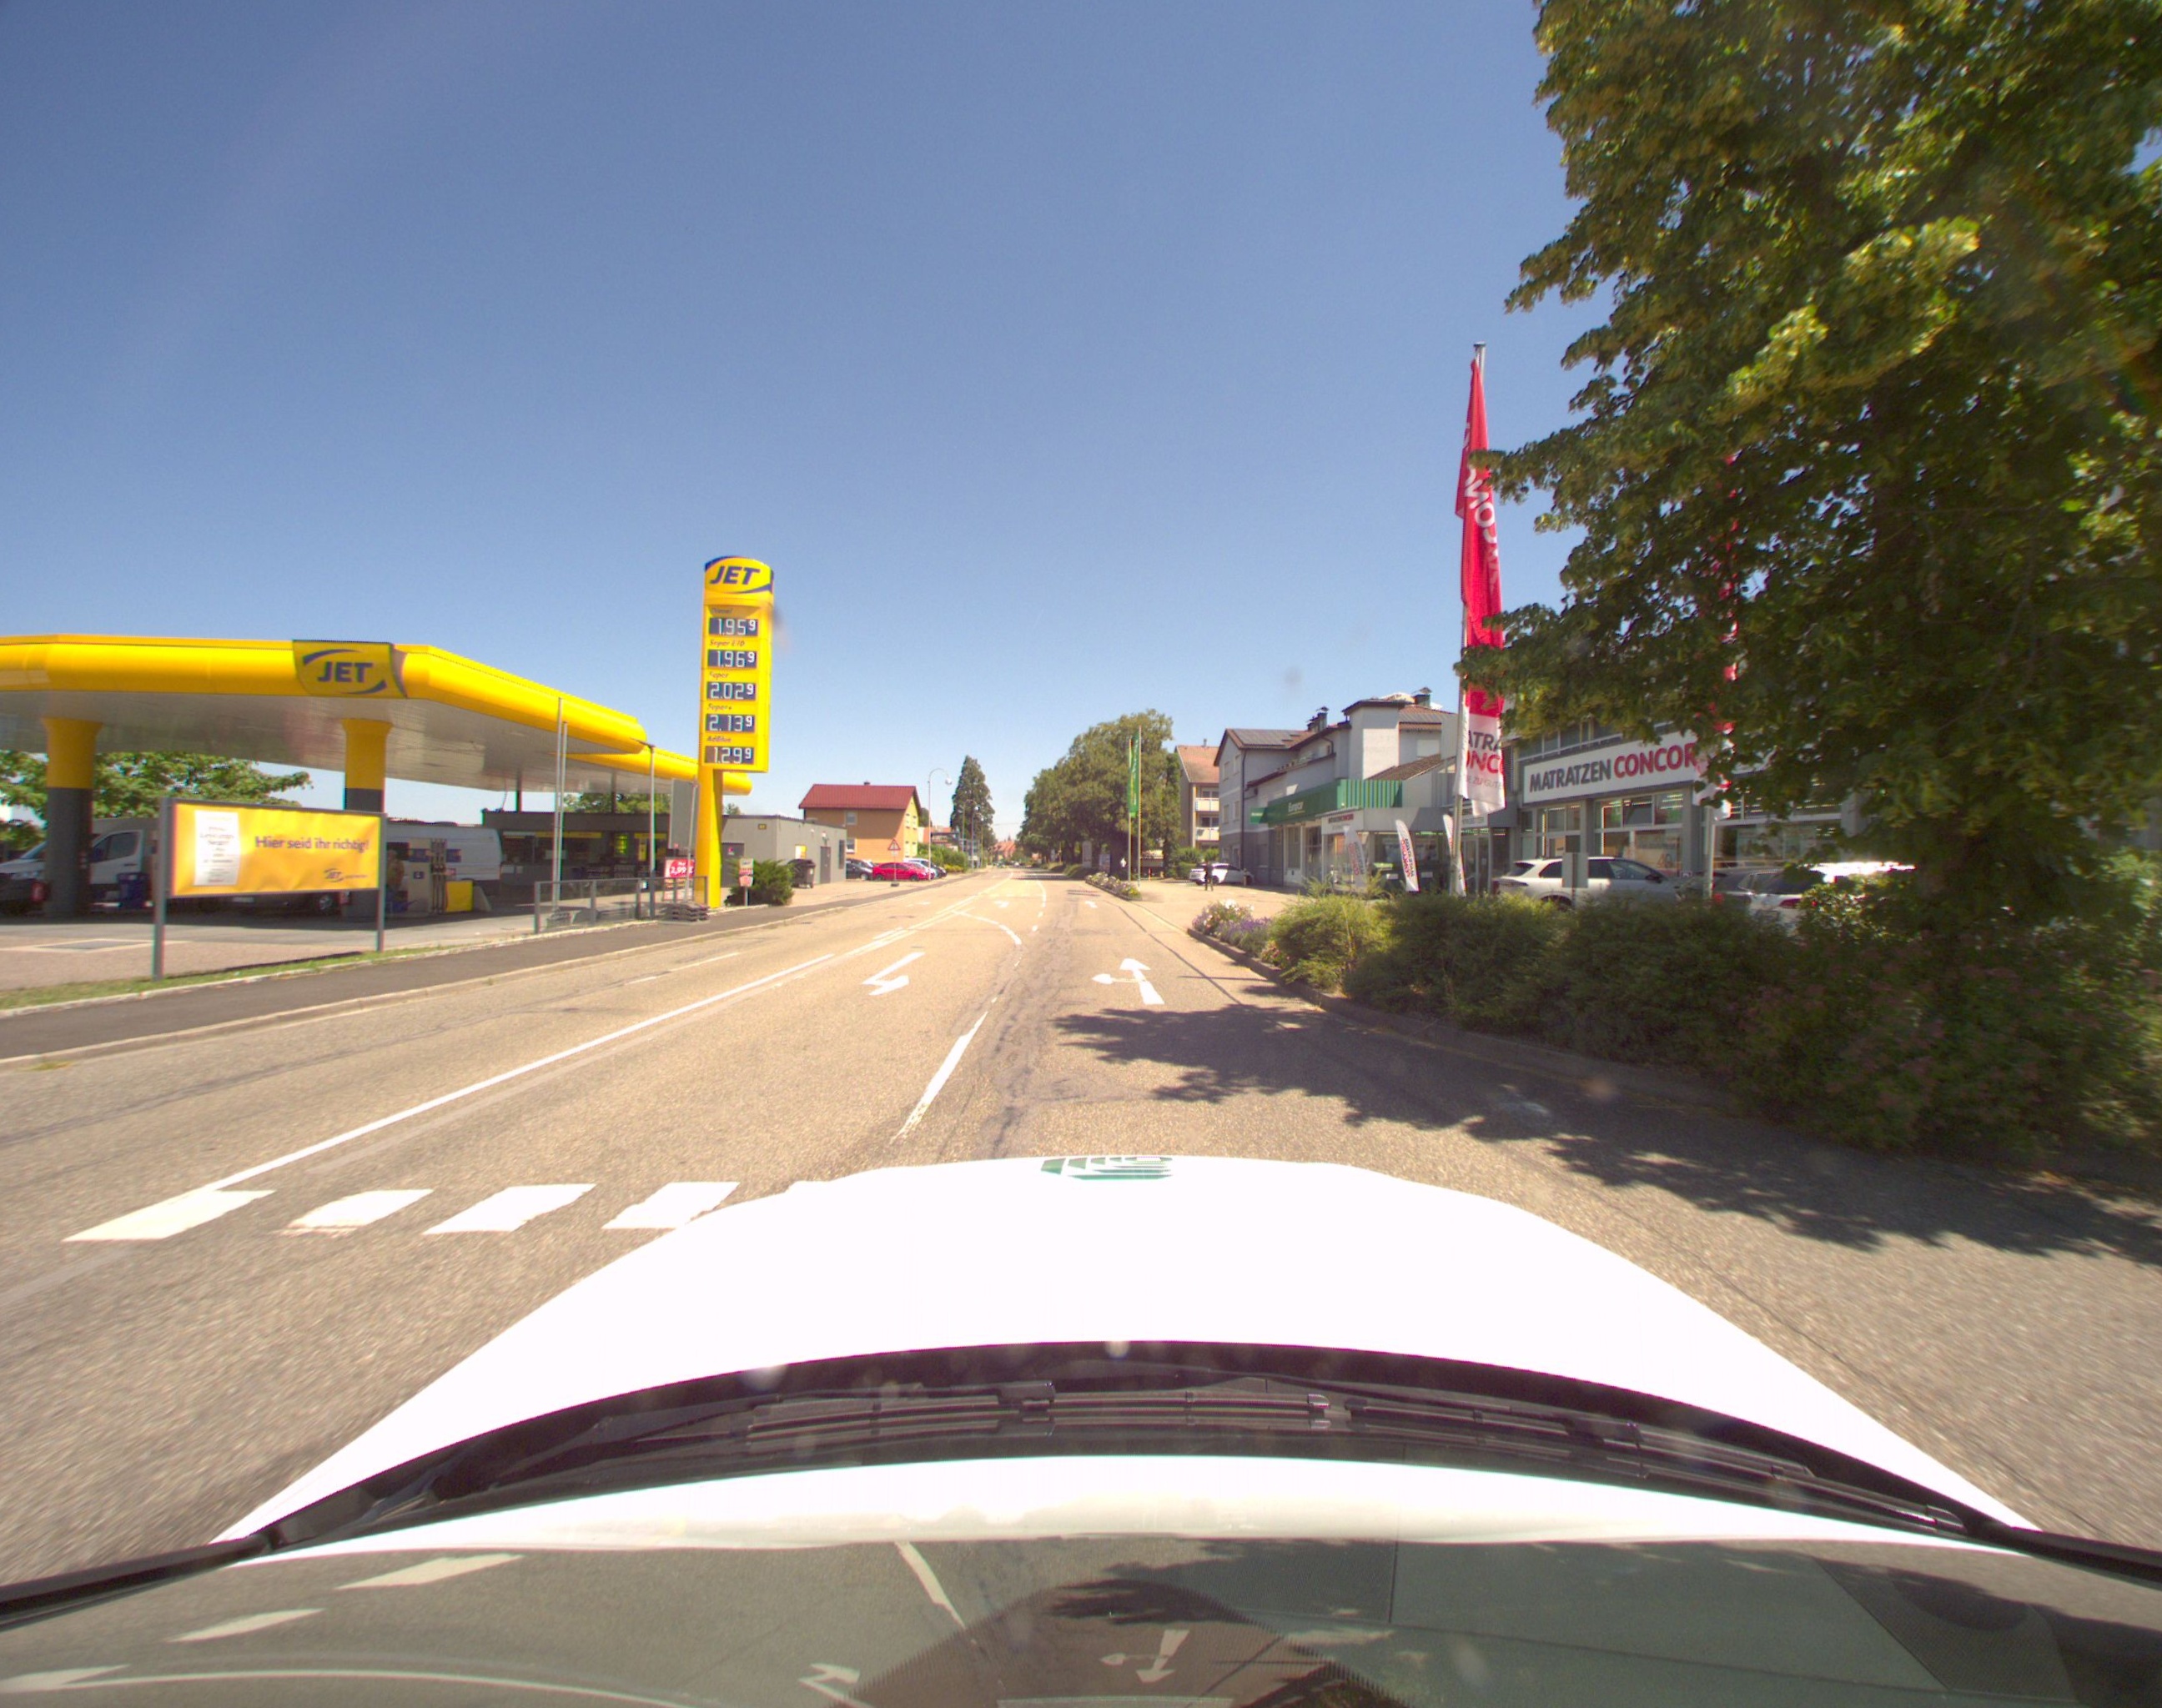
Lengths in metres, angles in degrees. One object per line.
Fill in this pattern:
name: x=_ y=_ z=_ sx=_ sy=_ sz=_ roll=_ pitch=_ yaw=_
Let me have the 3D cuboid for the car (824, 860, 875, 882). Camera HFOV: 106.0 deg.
car: x=-18.528 y=1.369 z=65.257 sx=3.659 sy=1.709 sz=1.888 roll=0 pitch=-1 yaw=-7

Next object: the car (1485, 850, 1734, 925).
car: x=12.250 y=0.761 z=19.250 sx=4.547 sy=1.642 sz=2.008 roll=-1 pitch=-1 yaw=15

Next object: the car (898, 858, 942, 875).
car: x=-14.385 y=1.100 z=72.933 sx=3.659 sy=1.531 sz=1.918 roll=0 pitch=-1 yaw=-6

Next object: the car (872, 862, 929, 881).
car: x=-14.058 y=1.335 z=63.704 sx=4.118 sy=1.444 sz=1.824 roll=0 pitch=-1 yaw=-5

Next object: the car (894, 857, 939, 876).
car: x=-14.261 y=1.096 z=70.831 sx=3.659 sy=1.581 sz=1.918 roll=0 pitch=-1 yaw=-6

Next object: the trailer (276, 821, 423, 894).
trailer: x=-34.500 y=0.135 z=38.712 sx=1.861 sy=3.219 sz=5.907 roll=0 pitch=0 yaw=-3

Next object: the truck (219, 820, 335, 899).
truck: x=-34.307 y=0.195 z=34.865 sx=1.841 sy=3.242 sz=3.186 roll=0 pitch=1 yaw=-3

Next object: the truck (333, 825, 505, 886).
truck: x=-38.326 y=0.078 z=47.342 sx=7.856 sy=3.426 sz=2.152 roll=0 pitch=-1 yaw=-5

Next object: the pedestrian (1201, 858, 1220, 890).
pedestrian: x=6.922 y=1.055 z=43.501 sx=0.837 sy=1.641 sz=1.010 roll=0 pitch=-1 yaw=1

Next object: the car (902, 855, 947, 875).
car: x=-14.790 y=1.048 z=77.275 sx=4.092 sy=1.898 sz=1.994 roll=0 pitch=-1 yaw=-9

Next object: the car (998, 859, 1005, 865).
car: x=-19.083 y=1.916 z=195.284 sx=1.707 sy=1.495 sz=4.271 roll=0 pitch=0 yaw=-4

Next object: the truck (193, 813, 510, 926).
truck: x=-19.264 y=0.395 z=22.223 sx=2.223 sy=2.598 sz=6.740 roll=0 pitch=0 yaw=4

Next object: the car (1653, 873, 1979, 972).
car: x=12.458 y=1.127 z=14.091 sx=3.826 sy=1.533 sz=1.685 roll=-1 pitch=-1 yaw=14

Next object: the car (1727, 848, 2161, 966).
car: x=11.811 y=0.692 z=11.388 sx=3.960 sy=1.460 sz=1.811 roll=-1 pitch=-1 yaw=12

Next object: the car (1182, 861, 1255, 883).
car: x=9.000 y=1.166 z=53.255 sx=4.366 sy=1.371 sz=1.939 roll=0 pitch=-1 yaw=-27

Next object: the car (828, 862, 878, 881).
car: x=-18.773 y=1.444 z=67.245 sx=3.659 sy=1.457 sz=1.888 roll=0 pitch=-1 yaw=-6

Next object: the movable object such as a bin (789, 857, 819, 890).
movable object such as a bin: x=-13.753 y=0.959 z=40.491 sx=0.950 sy=1.517 sz=1.427 roll=4 pitch=1 yaw=-3

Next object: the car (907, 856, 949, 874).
car: x=-14.126 y=1.025 z=75.230 sx=3.659 sy=1.672 sz=1.918 roll=0 pitch=-1 yaw=-6

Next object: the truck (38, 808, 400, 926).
truck: x=-24.545 y=0.346 z=23.800 sx=2.618 sy=2.913 sz=6.762 roll=-1 pitch=-1 yaw=17

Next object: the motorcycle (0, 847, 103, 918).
motorcycle: x=-30.661 y=0.810 z=23.680 sx=0.832 sy=2.014 sz=2.800 roll=0 pitch=-1 yaw=9

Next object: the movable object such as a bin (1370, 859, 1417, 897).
movable object such as a bin: x=12.434 y=0.957 z=32.435 sx=1.556 sy=1.422 sz=0.703 roll=-3 pitch=0 yaw=3

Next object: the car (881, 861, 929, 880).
car: x=-14.297 y=1.324 z=66.343 sx=3.659 sy=1.457 sz=1.888 roll=0 pitch=-1 yaw=-6

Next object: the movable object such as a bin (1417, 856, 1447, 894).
movable object such as a bin: x=13.926 y=0.832 z=32.358 sx=0.849 sy=1.445 sz=0.703 roll=-3 pitch=-1 yaw=4
